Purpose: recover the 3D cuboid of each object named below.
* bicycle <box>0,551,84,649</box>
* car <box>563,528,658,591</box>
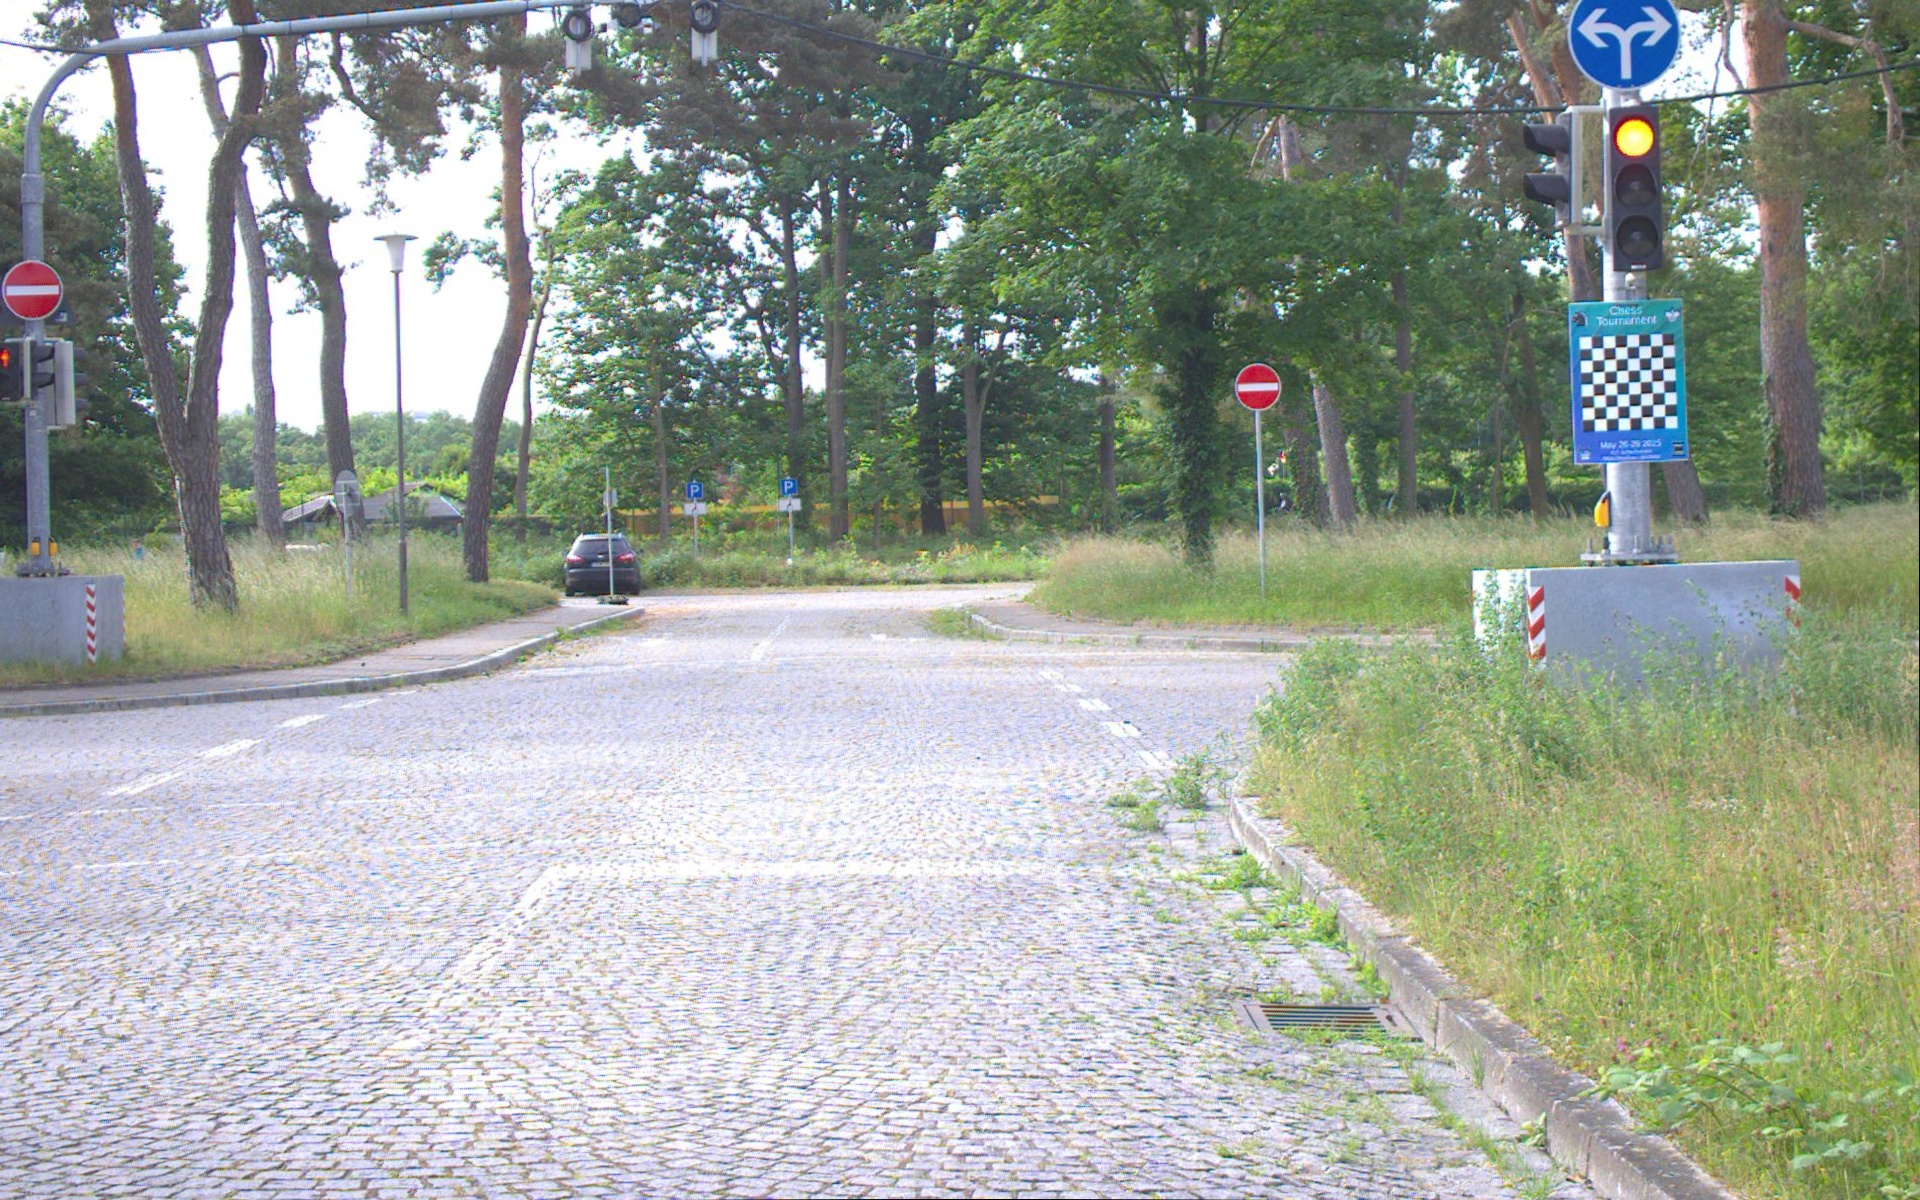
[{"bbox_3d":[-9.910,0.008,35.810,1.459,0.992,0.452,-1,1,-8],"label":"bicycle"},{"bbox_3d":[-8.698,-1.018,85.719,1.993,1.503,4.000,1,1,-1],"label":"car"}]
